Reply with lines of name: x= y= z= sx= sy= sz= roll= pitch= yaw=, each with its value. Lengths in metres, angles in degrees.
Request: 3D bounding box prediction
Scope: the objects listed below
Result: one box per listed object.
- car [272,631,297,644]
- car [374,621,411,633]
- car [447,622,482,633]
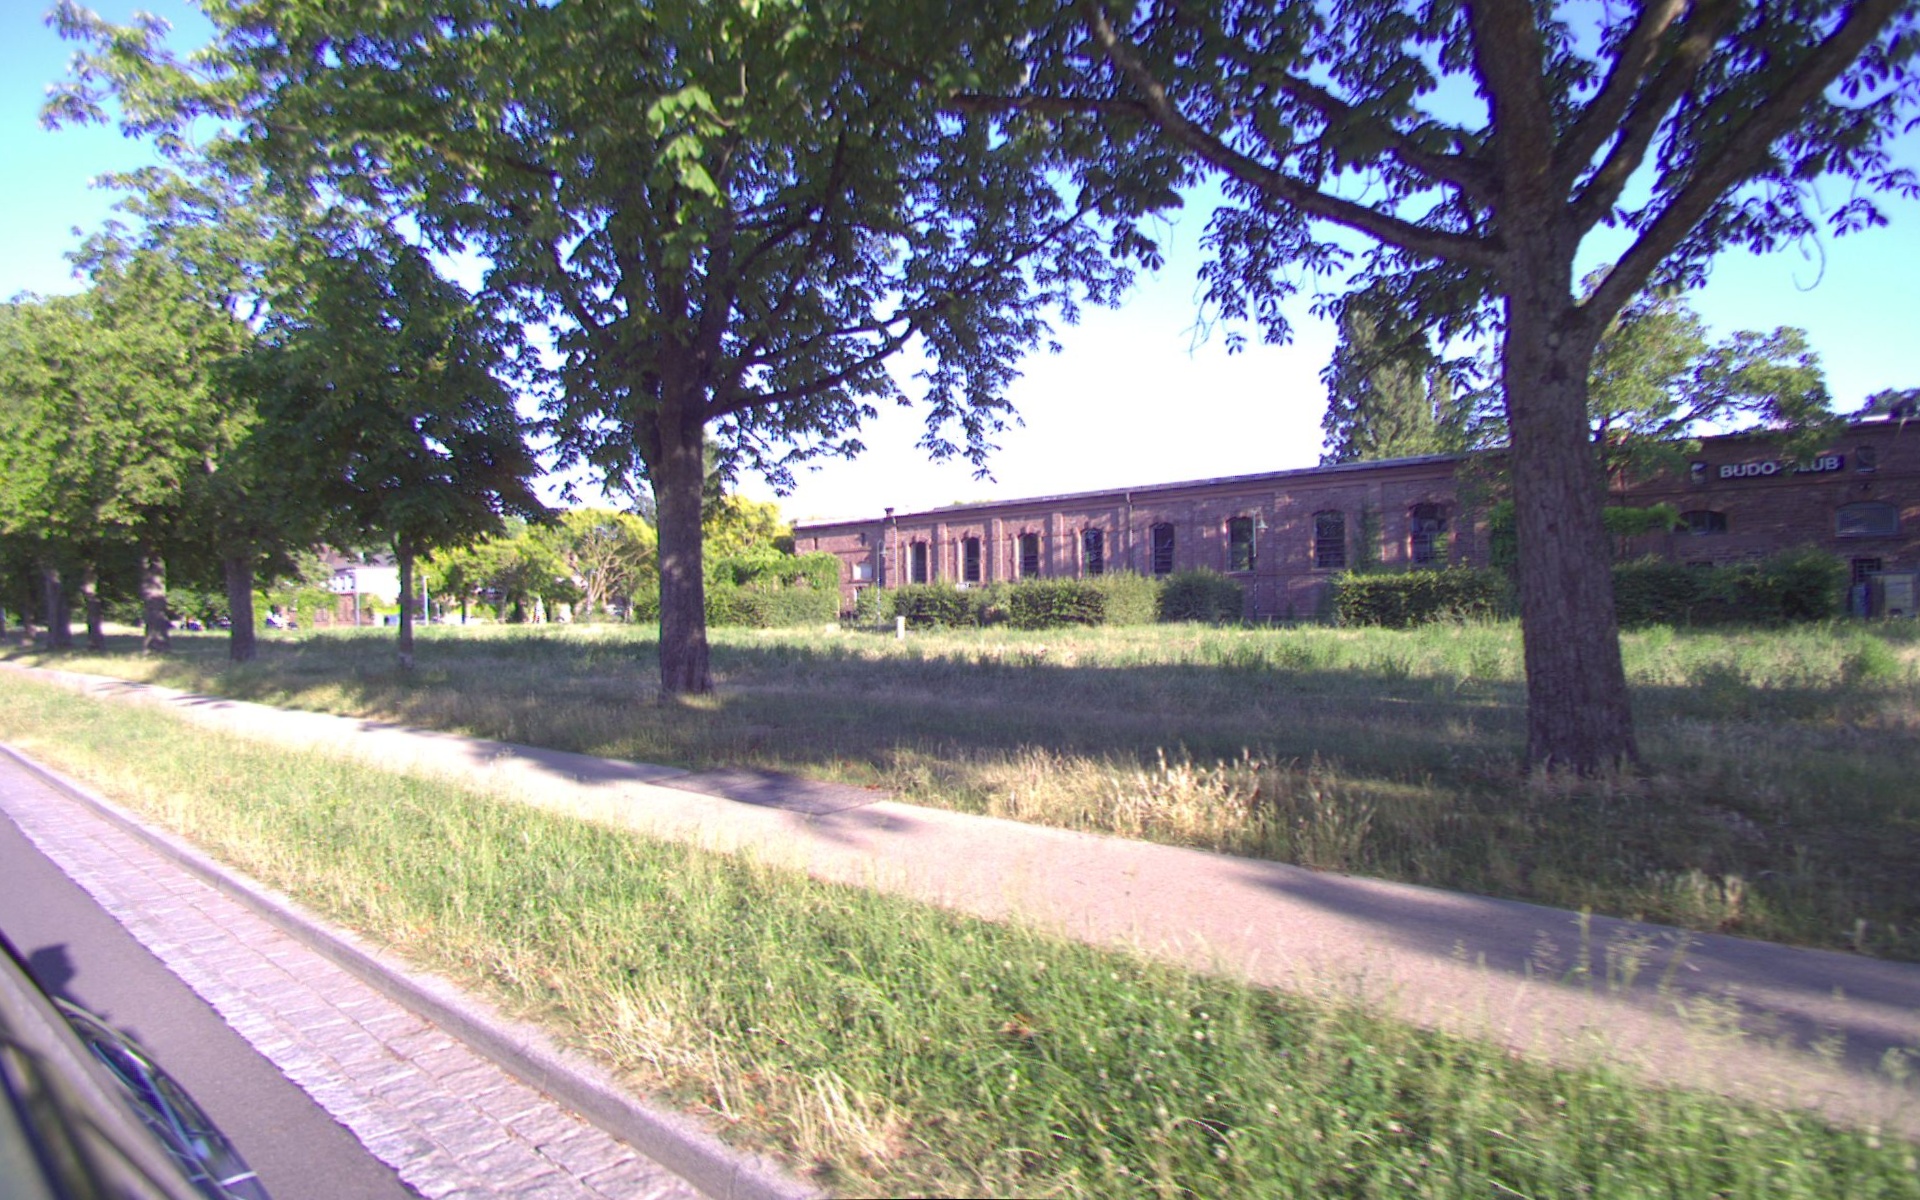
car: x=-87.646 y=4.883 z=131.273 sx=3.998 sy=1.641 sz=1.744 roll=-2 pitch=0 yaw=41
car: x=-67.817 y=3.264 z=120.950 sx=1.586 sy=1.290 sz=3.589 roll=-1 pitch=0 yaw=42
car: x=-63.023 y=3.502 z=128.714 sx=1.586 sy=1.290 sz=3.589 roll=-1 pitch=0 yaw=42
